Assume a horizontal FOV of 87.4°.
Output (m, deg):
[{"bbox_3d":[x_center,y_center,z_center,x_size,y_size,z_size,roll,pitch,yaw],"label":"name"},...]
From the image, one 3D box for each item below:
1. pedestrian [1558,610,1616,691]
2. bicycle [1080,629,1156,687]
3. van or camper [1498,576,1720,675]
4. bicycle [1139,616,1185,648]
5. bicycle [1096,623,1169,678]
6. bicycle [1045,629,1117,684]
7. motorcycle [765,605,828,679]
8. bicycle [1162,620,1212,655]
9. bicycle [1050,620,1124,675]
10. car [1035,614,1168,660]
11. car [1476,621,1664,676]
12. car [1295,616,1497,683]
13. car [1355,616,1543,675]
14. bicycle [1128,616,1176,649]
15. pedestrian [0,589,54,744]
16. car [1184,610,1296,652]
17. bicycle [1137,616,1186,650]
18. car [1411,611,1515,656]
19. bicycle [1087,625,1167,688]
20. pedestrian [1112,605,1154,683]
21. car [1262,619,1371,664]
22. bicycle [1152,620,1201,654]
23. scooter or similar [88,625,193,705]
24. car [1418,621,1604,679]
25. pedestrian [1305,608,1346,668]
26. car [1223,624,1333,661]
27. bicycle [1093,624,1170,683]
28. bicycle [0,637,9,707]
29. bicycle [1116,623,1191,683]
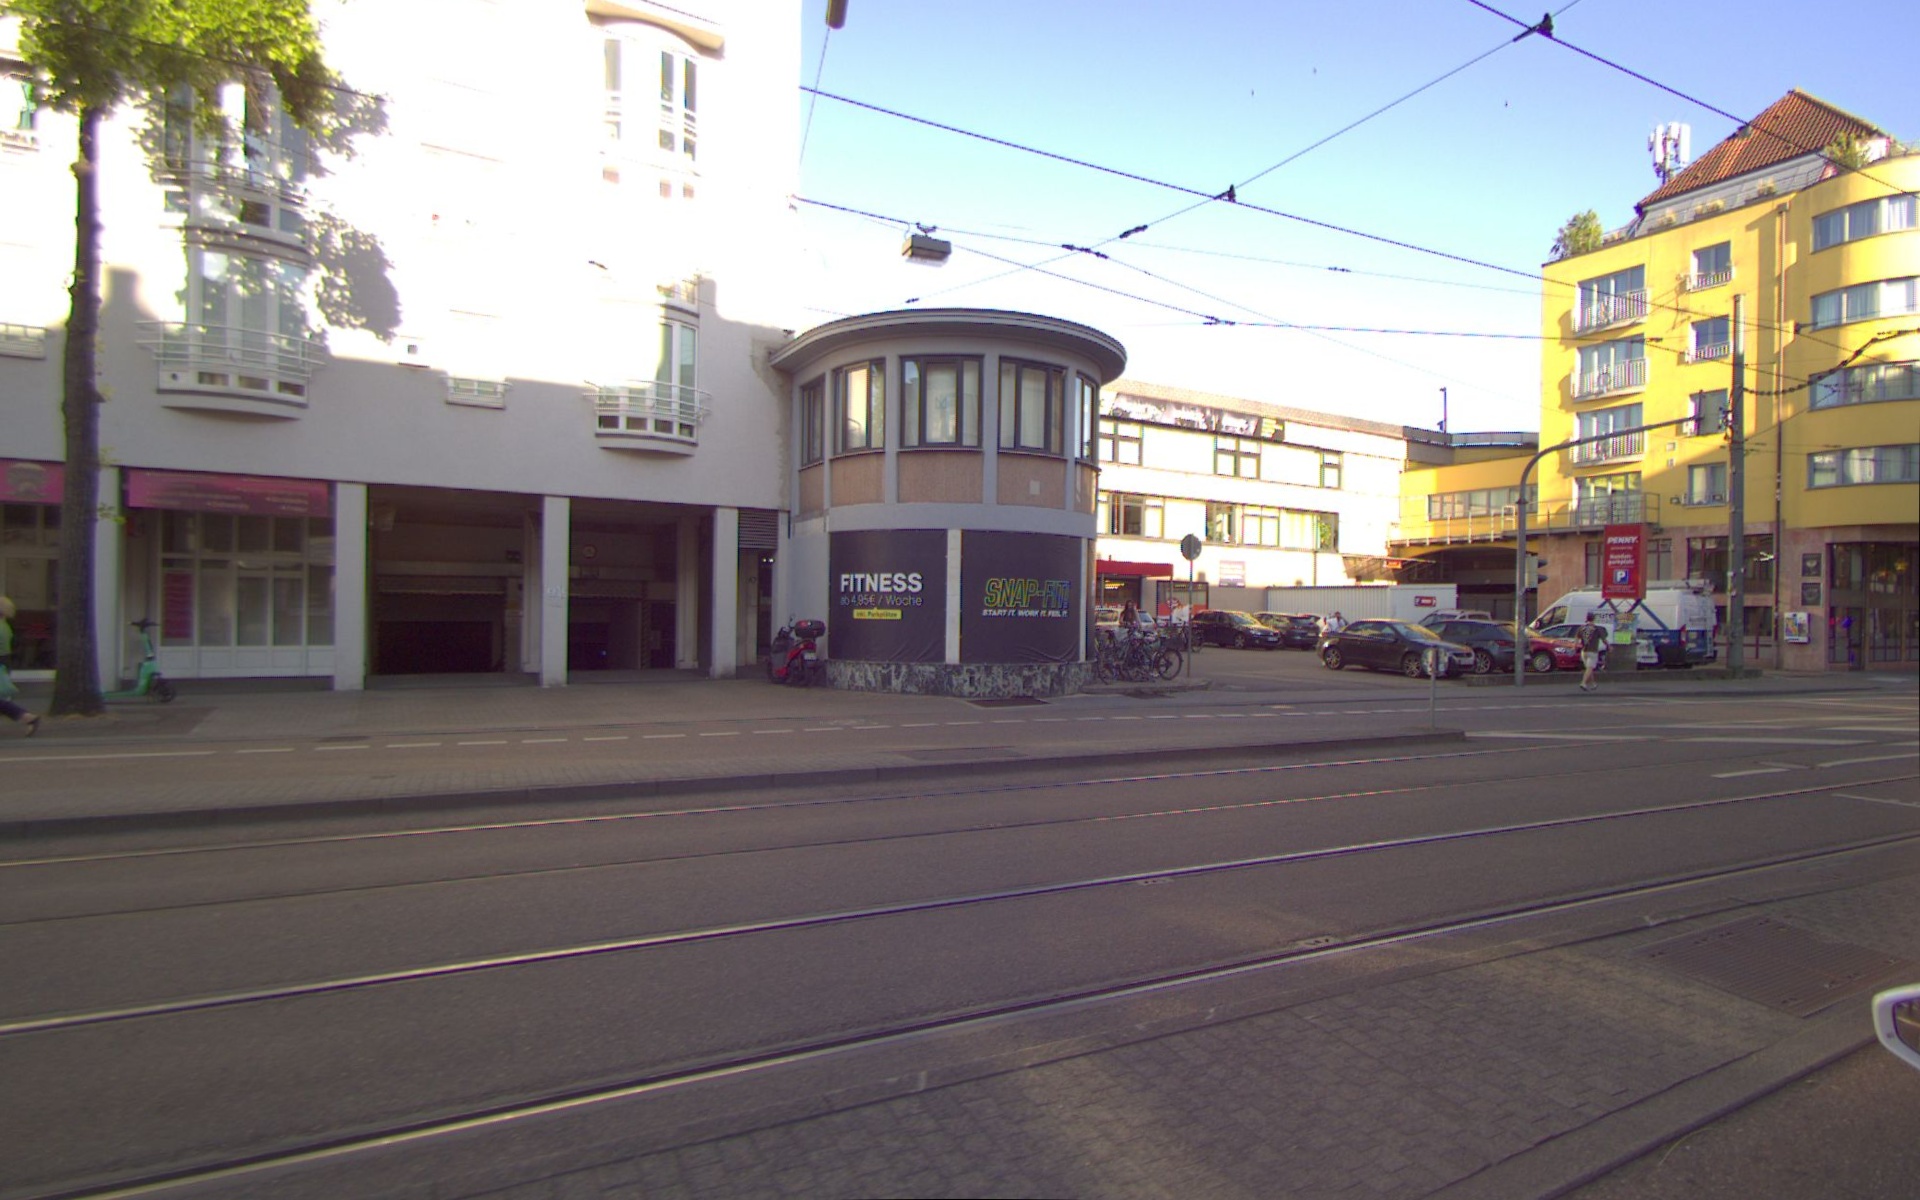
[{"bbox_3d":[14.744,1.162,23.627,0.898,1.857,0.829,0,0,-30],"label":"pedestrian"},{"bbox_3d":[3.458,1.243,21.922,1.811,1.203,0.440,1,-1,-33],"label":"bicycle"},{"bbox_3d":[20.438,0.765,31.963,2.286,2.865,5.583,0,-1,-28],"label":"van or camper"},{"bbox_3d":[7.681,1.209,38.183,1.805,1.203,0.430,0,0,-23],"label":"bicycle"},{"bbox_3d":[3.905,1.128,22.728,1.811,1.203,0.445,1,-1,-33],"label":"bicycle"},{"bbox_3d":[2.830,1.294,23.349,1.811,1.203,0.445,1,-1,-33],"label":"bicycle"},{"bbox_3d":[-3.152,0.770,19.272,0.555,1.296,1.745,0,2,-31],"label":"motorcycle"},{"bbox_3d":[7.947,1.313,35.200,1.805,1.203,0.430,0,0,-23],"label":"bicycle"},{"bbox_3d":[2.880,1.054,22.645,1.811,1.203,0.445,1,-1,-33],"label":"bicycle"},{"bbox_3d":[4.890,1.257,35.323,1.865,1.495,4.548,1,-1,-41],"label":"car"},{"bbox_3d":[18.249,1.398,30.271,1.856,1.495,4.569,1,-1,-29],"label":"car"},{"bbox_3d":[11.482,1.243,26.842,1.856,1.604,4.874,1,-1,-29],"label":"car"},{"bbox_3d":[13.656,1.218,28.355,1.856,1.495,4.569,1,-1,-29],"label":"car"},{"bbox_3d":[7.097,1.196,37.105,1.805,1.203,0.430,0,0,-23],"label":"bicycle"},{"bbox_3d":[-11.117,0.744,11.541,0.809,1.739,0.632,1,0,-2],"label":"pedestrian"},{"bbox_3d":[10.895,1.168,39.365,1.978,1.528,3.966,1,-1,-31],"label":"car"},{"bbox_3d":[7.323,1.194,36.434,1.805,1.203,0.430,0,0,-23],"label":"bicycle"},{"bbox_3d":[20.433,1.330,40.780,4.074,1.759,1.983,1,-1,-31],"label":"car"},{"bbox_3d":[3.359,1.114,20.145,1.814,1.203,0.442,1,-1,-36],"label":"bicycle"},{"bbox_3d":[3.905,0.985,22.697,0.675,1.719,0.677,0,0,-31],"label":"pedestrian"},{"bbox_3d":[14.936,1.703,42.220,1.978,1.723,3.966,1,-1,-31],"label":"car"},{"bbox_3d":[7.702,1.309,35.675,1.805,1.203,0.430,0,0,-23],"label":"bicycle"},{"bbox_3d":[-11.821,0.940,14.501,1.158,1.126,0.336,1,0,-7],"label":"scooter or similar"},{"bbox_3d":[16.050,1.398,29.526,1.856,1.495,4.569,1,-1,-29],"label":"car"},{"bbox_3d":[10.597,1.087,29.128,0.826,1.691,0.766,0,0,-29],"label":"pedestrian"},{"bbox_3d":[12.917,1.705,40.974,1.978,1.372,3.966,1,-1,-31],"label":"car"},{"bbox_3d":[3.681,1.127,21.506,1.811,1.203,0.445,1,-1,-33],"label":"bicycle"},{"bbox_3d":[-12.763,0.986,12.751,0.384,0.924,1.840,1,1,-24],"label":"bicycle"},{"bbox_3d":[4.099,1.101,21.218,1.813,1.203,0.437,1,-1,-36],"label":"bicycle"}]
